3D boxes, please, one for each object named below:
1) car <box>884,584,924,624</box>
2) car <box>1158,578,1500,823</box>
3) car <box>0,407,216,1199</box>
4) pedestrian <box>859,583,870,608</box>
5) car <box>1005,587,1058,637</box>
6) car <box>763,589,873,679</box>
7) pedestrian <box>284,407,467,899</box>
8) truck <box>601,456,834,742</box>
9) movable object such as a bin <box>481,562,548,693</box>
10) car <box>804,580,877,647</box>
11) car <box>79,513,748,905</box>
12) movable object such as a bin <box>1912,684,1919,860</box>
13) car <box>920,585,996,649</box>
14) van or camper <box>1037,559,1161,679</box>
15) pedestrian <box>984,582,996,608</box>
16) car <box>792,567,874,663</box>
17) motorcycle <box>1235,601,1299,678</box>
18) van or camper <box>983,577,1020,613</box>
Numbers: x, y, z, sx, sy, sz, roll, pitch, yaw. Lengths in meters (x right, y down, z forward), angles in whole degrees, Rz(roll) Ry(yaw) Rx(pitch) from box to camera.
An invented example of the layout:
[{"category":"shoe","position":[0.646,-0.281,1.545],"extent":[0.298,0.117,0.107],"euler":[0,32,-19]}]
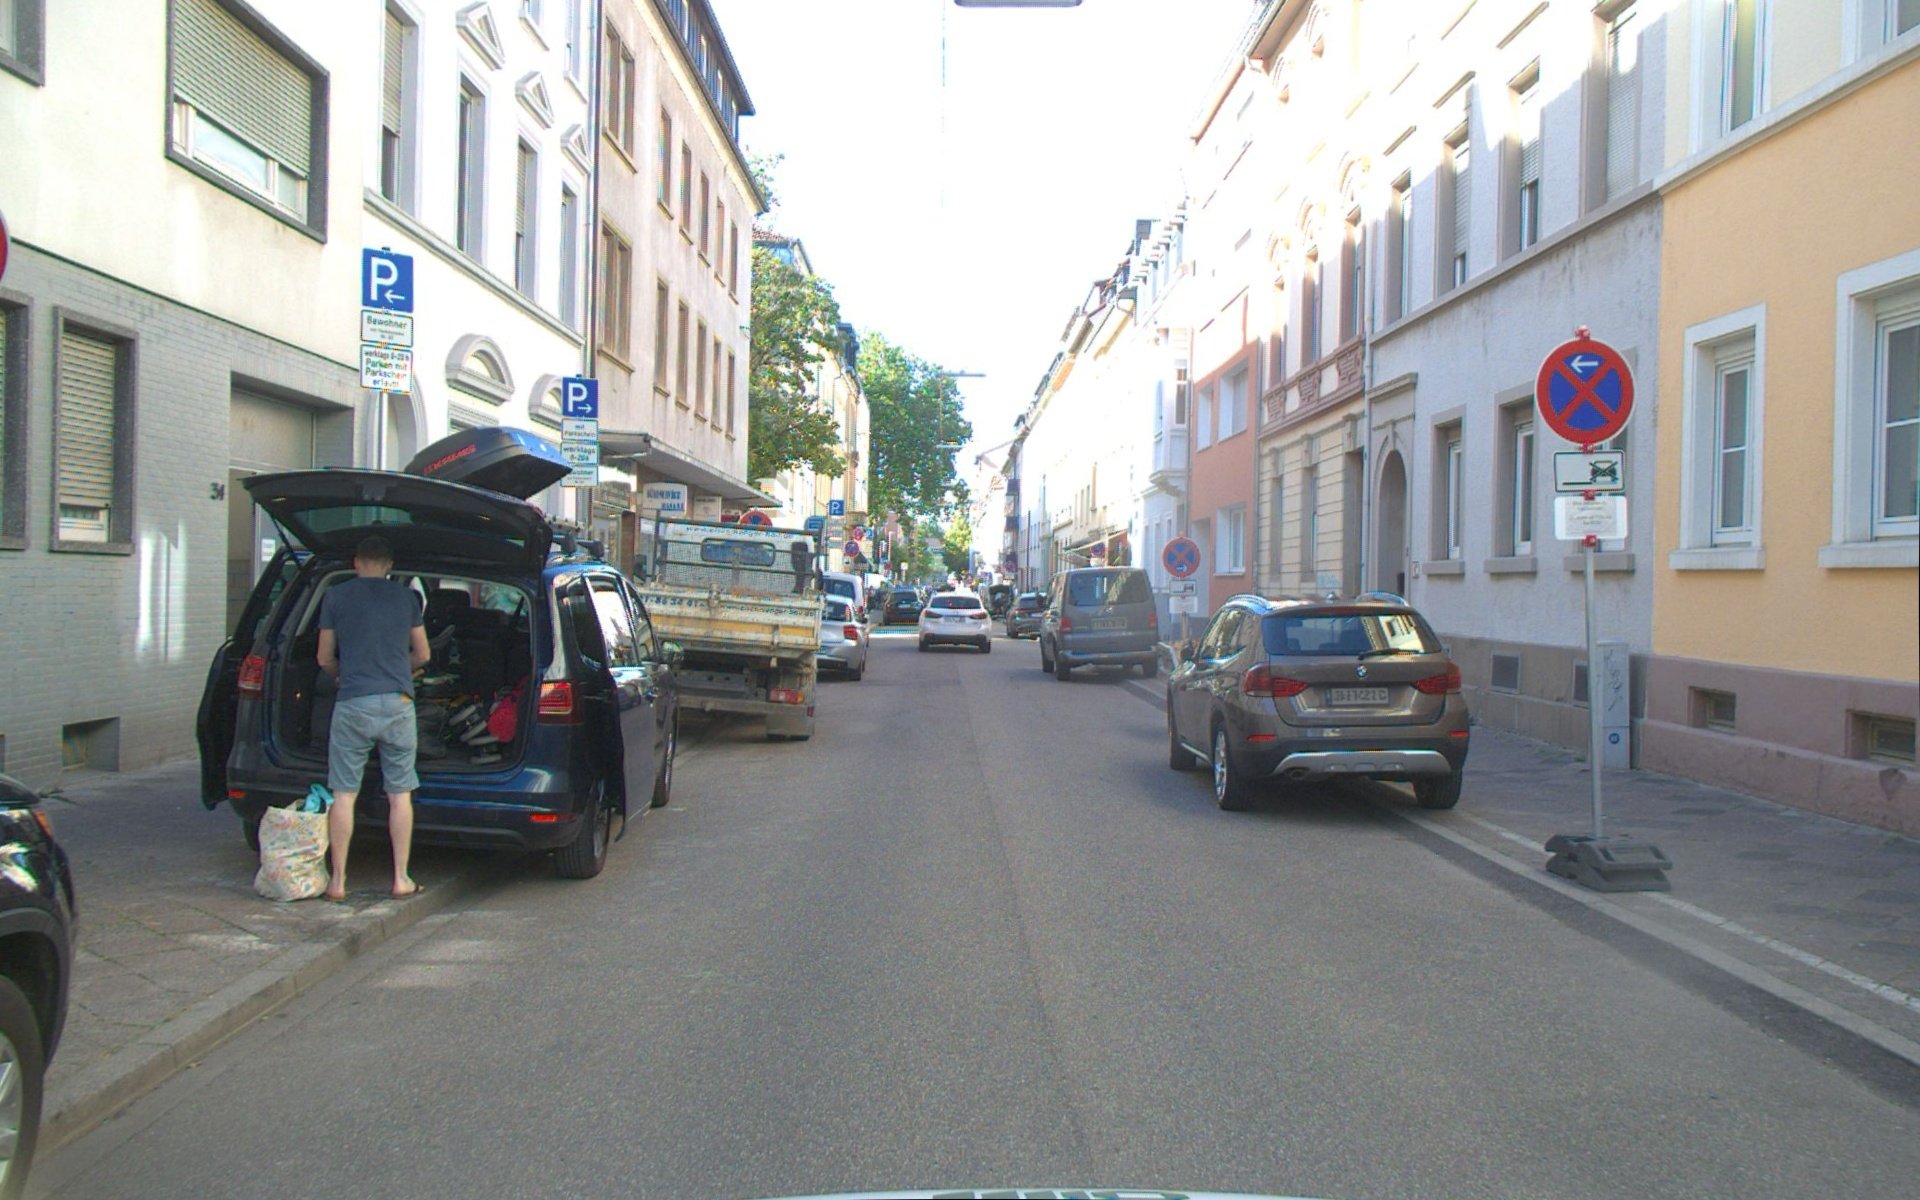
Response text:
[{"category":"car","position":[-2.382,0.166,70.802],"extent":[1.591,1.625,3.580],"euler":[2,0,0]},{"category":"car","position":[2.767,0.652,13.409],"extent":[1.704,1.604,4.377],"euler":[1,1,-1]},{"category":"car","position":[-2.737,0.476,1.939],"extent":[1.843,1.785,4.539],"euler":[4,1,-4]},{"category":"pedestrian","position":[-5.734,-0.257,99.608],"extent":[0.614,1.490,0.575],"euler":[1,-1,-1]},{"category":"car","position":[2.379,0.377,55.697],"extent":[1.613,1.604,3.679],"euler":[1,0,0]},{"category":"car","position":[-2.471,0.552,29.488],"extent":[1.723,1.440,3.999],"euler":[-1,1,-2]},{"category":"pedestrian","position":[-2.798,0.246,7.980],"extent":[0.606,2.268,0.688],"euler":[1,-1,-1]},{"category":"truck","position":[-2.516,0.029,18.421],"extent":[2.115,2.635,6.242],"euler":[1,-1,-5]},{"category":"movable object such as a bin","position":[-5.401,0.330,20.088],"extent":[0.626,1.559,0.587],"euler":[1,0,0]},{"category":"car","position":[-3.025,0.316,42.430],"extent":[1.613,1.604,3.679],"euler":[1,0,0]},{"category":"car","position":[-2.834,0.472,10.195],"extent":[2.391,1.735,5.242],"euler":[2,1,-1]},{"category":"movable object such as a bin","position":[5.574,0.949,8.790],"extent":[0.640,0.952,0.642],"euler":[1,0,-3]},{"category":"car","position":[-0.039,0.399,41.693],"extent":[1.796,1.512,4.057],"euler":[1,0,0]},{"category":"van or camper","position":[2.535,0.320,31.190],"extent":[1.739,2.072,4.568],"euler":[-1,0,-3]},{"category":"pedestrian","position":[1.715,-0.300,94.731],"extent":[0.614,1.490,0.575],"euler":[1,-1,-1]},{"category":"car","position":[-2.677,0.280,35.379],"extent":[1.614,1.900,3.998],"euler":[1,0,-3]},{"category":"motorcycle","position":[5.276,0.652,28.554],"extent":[0.584,1.207,2.760],"euler":[-3,0,1]},{"category":"van or camper","position":[2.334,-0.283,93.431],"extent":[1.953,1.959,3.999],"euler":[1,-1,0]}]
